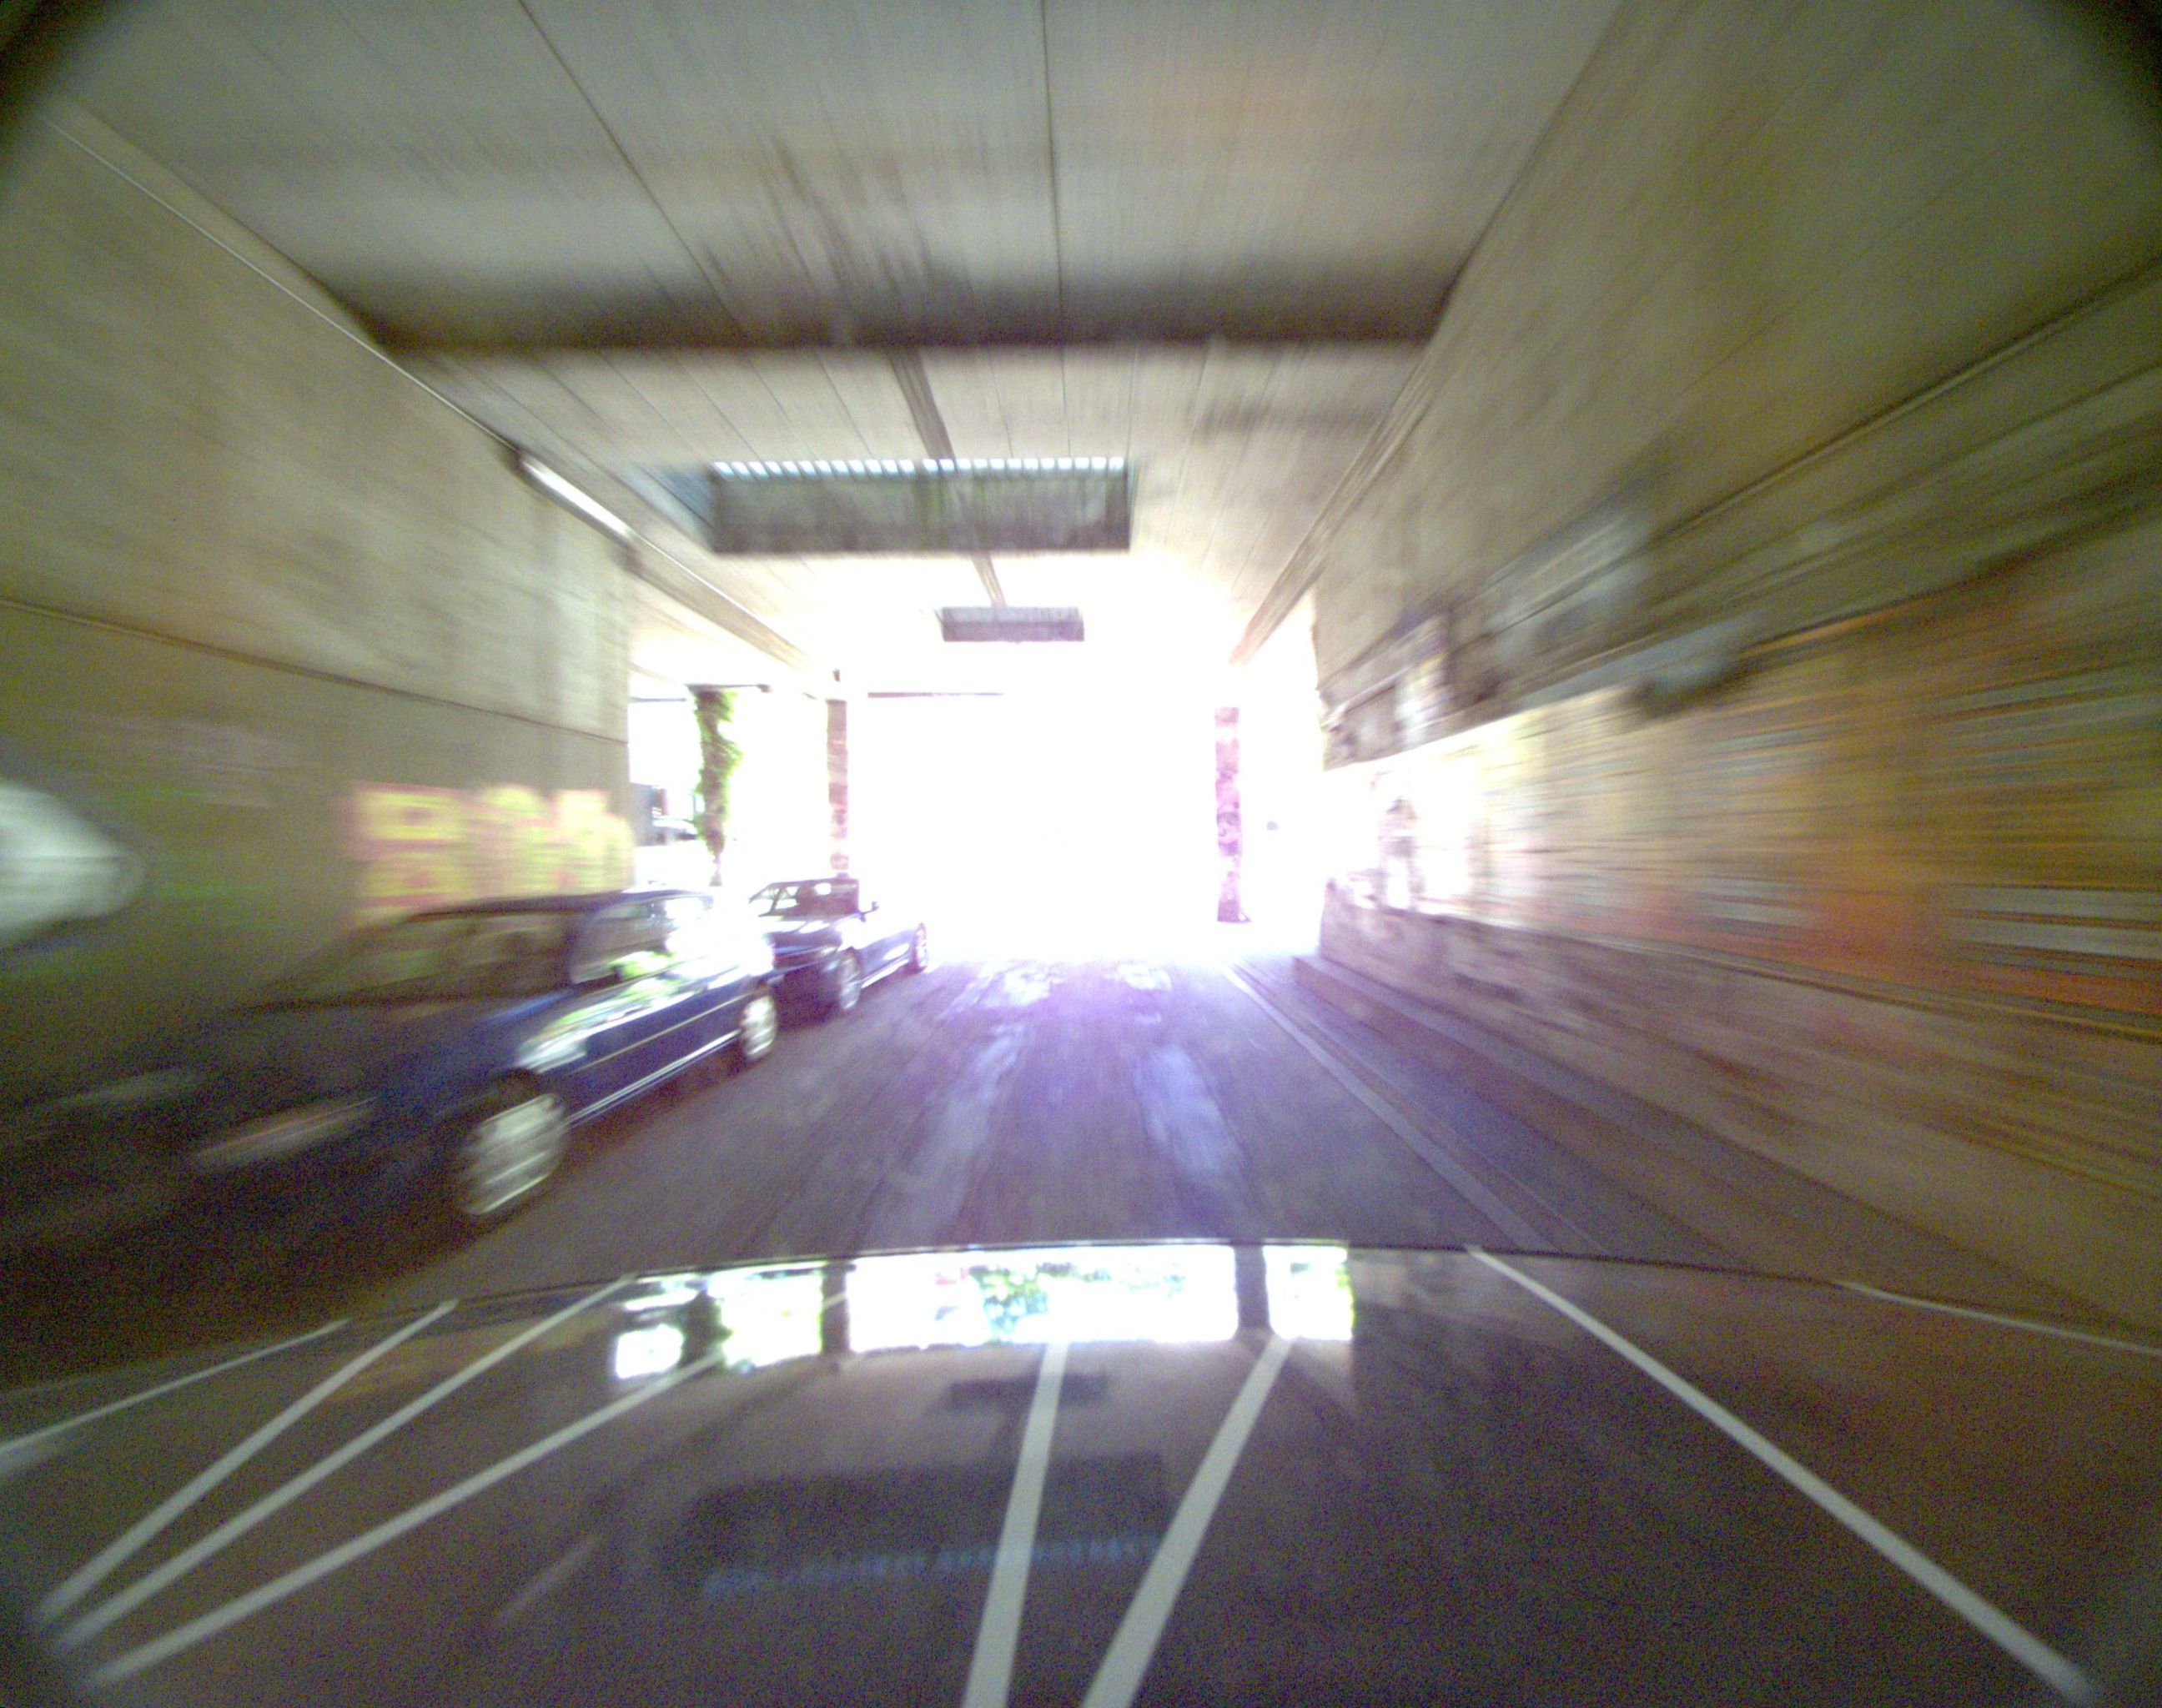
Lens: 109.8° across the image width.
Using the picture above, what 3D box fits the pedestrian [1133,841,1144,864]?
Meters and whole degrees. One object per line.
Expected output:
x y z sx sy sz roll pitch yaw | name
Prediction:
3.972 -0.082 52.407 0.632 1.567 0.532 0 2 26 | pedestrian

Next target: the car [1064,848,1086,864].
-0.624 0.182 74.691 1.695 1.548 3.818 -1 1 -8 | car

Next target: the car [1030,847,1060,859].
-5.039 -0.151 105.286 4.000 1.576 1.817 -1 -2 -8 | car

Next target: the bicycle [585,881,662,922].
-11.329 1.179 18.811 1.799 0.995 0.416 -1 -2 10 | bicycle

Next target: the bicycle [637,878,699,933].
-8.507 1.029 15.705 0.484 0.995 1.801 0 0 -7 | bicycle

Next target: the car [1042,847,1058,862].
-3.982 0.027 97.013 1.777 1.871 3.997 -1 1 -7 | car

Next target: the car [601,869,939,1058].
-3.194 1.025 9.032 1.855 1.424 4.607 -3 1 3 | car

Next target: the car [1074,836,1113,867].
0.954 -0.250 62.906 2.221 2.437 5.089 -1 1 -10 | car

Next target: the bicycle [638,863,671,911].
-9.253 0.706 16.530 0.416 0.995 1.615 0 -1 -22 | bicycle

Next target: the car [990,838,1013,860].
-7.766 -0.488 74.290 1.997 2.017 4.300 -1 0 -9 | car

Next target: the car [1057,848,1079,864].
-1.358 0.223 79.366 1.786 1.548 3.818 -1 1 -8 | car

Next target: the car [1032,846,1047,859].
-6.056 -0.244 110.302 1.777 1.871 3.997 -1 1 -7 | car

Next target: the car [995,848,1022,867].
-5.778 0.304 60.279 1.779 1.432 3.997 2 -1 -9 | car

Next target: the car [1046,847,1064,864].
-3.164 0.164 90.598 1.777 1.871 3.997 -1 0 -7 | car

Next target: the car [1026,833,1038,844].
-8.804 -2.818 136.169 1.777 1.871 3.997 -1 1 -7 | car

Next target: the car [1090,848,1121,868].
1.830 0.266 57.660 1.692 1.454 3.996 -1 1 -8 | car

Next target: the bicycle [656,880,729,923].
-9.474 1.150 18.505 1.798 1.024 0.416 -1 -2 17 | bicycle

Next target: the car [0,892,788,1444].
-3.369 1.067 4.331 1.766 1.402 4.062 -1 1 0 | car

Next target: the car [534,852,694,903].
-16.540 0.812 27.065 4.500 1.618 1.874 -1 2 2 | car

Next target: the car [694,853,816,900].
-11.519 0.774 26.997 3.529 1.510 1.724 -1 2 -2 | car
